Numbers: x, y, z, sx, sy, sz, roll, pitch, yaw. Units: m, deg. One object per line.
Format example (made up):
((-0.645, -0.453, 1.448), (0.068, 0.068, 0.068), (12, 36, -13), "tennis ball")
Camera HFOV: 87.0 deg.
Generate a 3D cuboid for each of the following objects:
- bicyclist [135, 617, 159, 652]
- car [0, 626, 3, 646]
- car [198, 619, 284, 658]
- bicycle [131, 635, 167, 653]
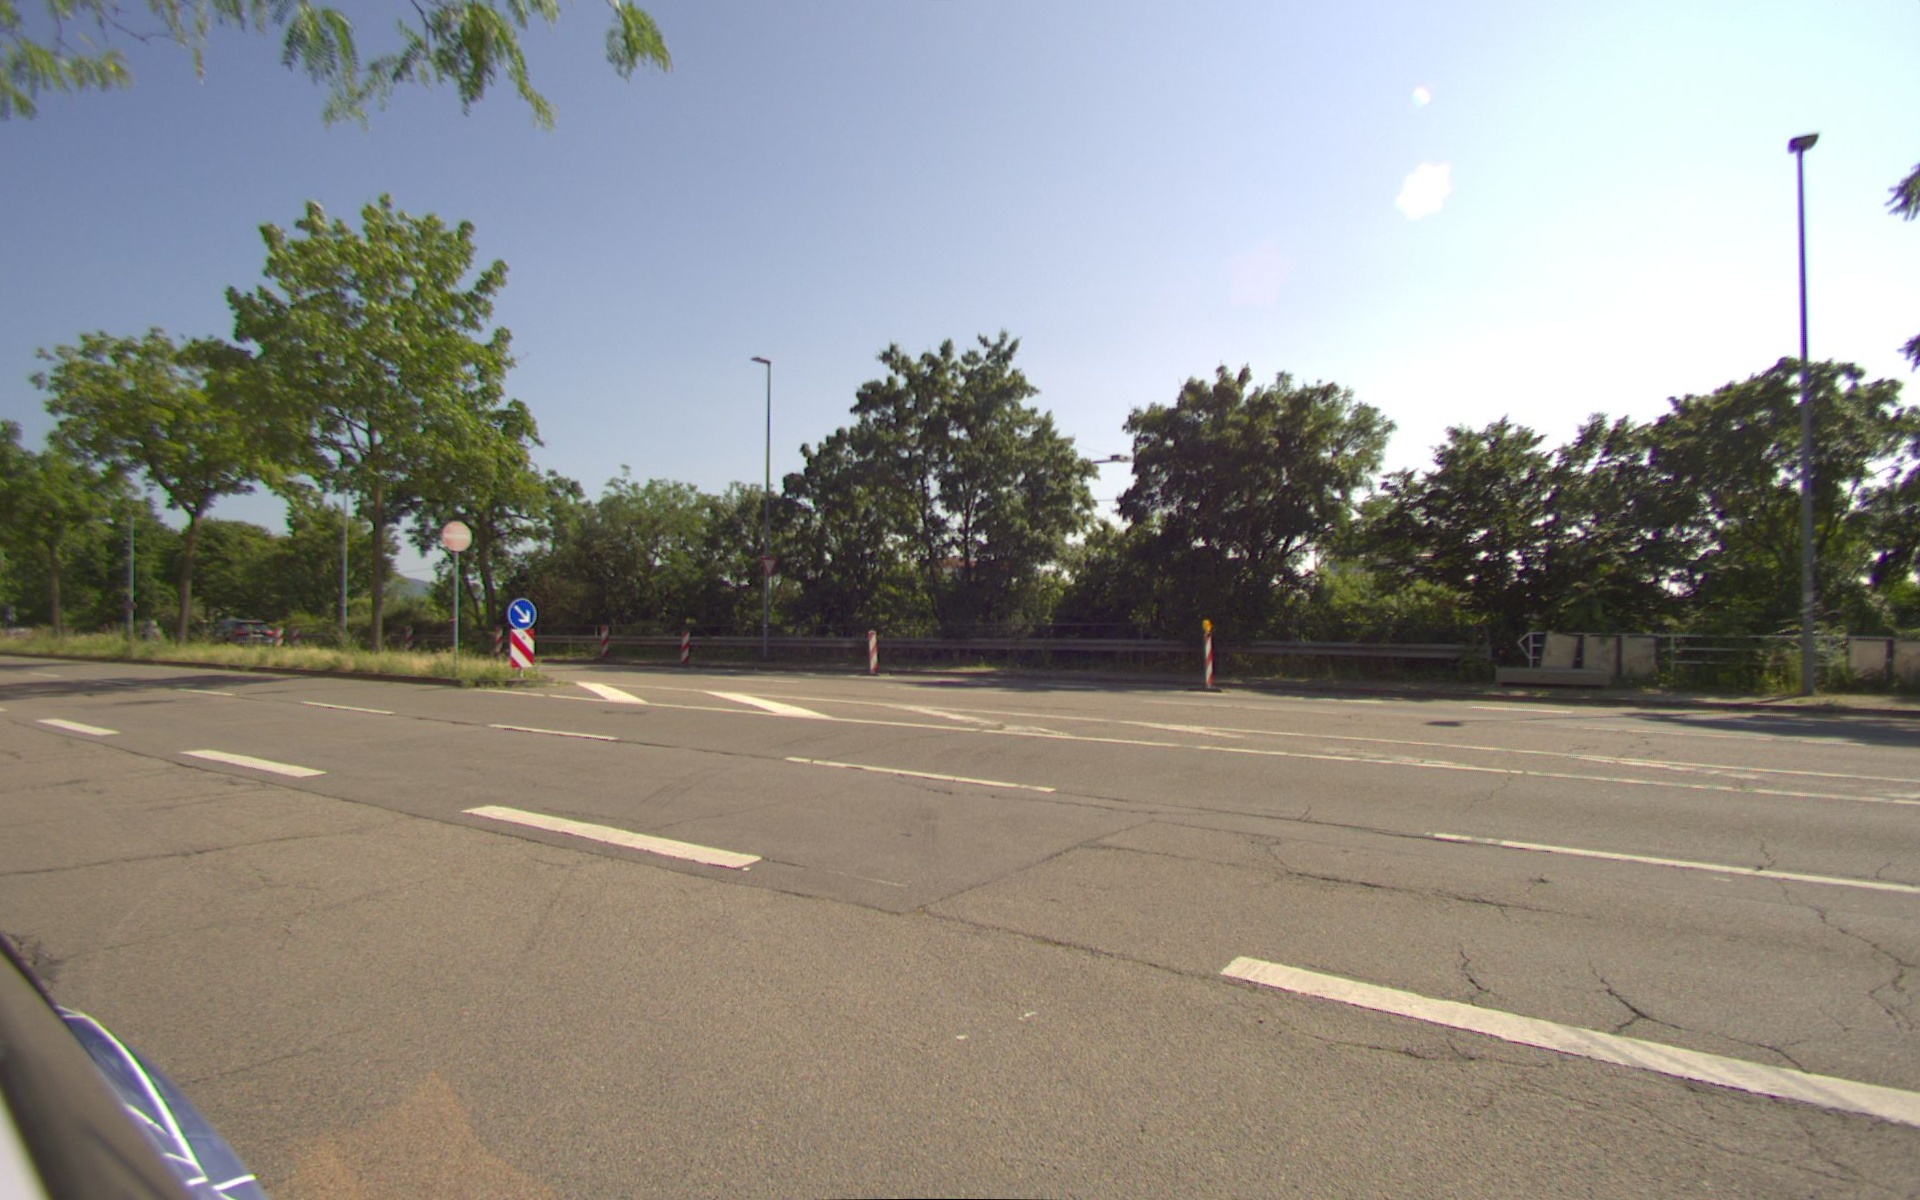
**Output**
((-43.408, 1.823, 54.027), (1.013, 1.846, 0.691), (-1, -2, 30), "bicyclist")
((-72.723, 2.698, 75.198), (4.078, 1.485, 1.747), (-1, -2, 37), "car")
((-34.510, 1.818, 48.551), (4.721, 1.747, 1.975), (-1, -2, 36), "car")
((-43.215, 2.352, 53.911), (2.333, 0.912, 0.688), (-1, -2, 31), "bicycle")
